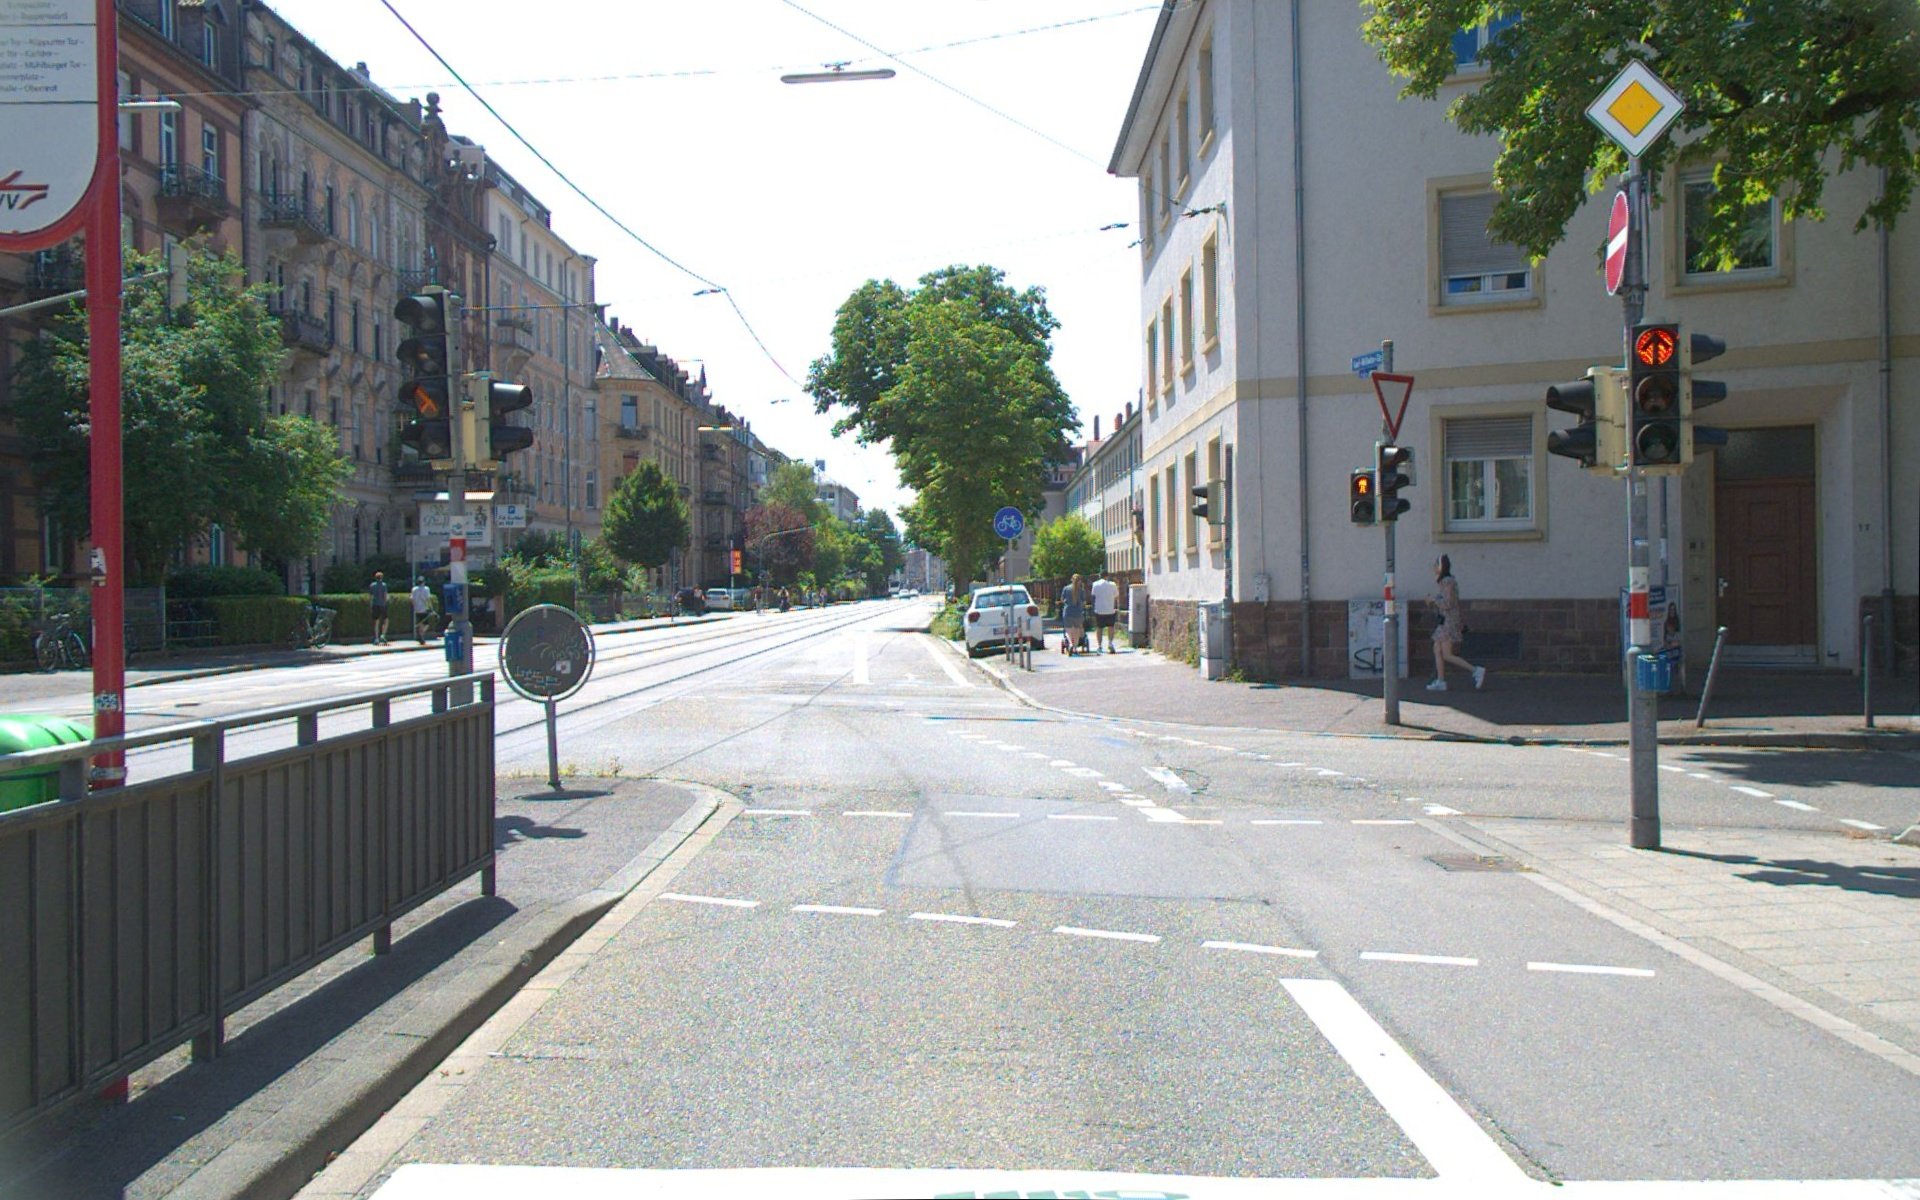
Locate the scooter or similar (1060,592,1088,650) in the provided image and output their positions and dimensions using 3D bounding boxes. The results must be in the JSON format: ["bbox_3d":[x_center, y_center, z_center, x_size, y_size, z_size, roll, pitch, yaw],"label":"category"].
[{"bbox_3d":[2.383,0.439,34.387,0.545,1.175,1.206,1,0,5],"label":"scooter or similar"}]

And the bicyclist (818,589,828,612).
[{"bbox_3d":[-11.206,0.064,135.573,0.712,1.850,1.079,1,0,1],"label":"bicyclist"}]

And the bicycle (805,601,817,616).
[{"bbox_3d":[-12.228,0.702,135.573,0.712,1.142,2.085,1,0,1],"label":"bicycle"}]

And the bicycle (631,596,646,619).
[{"bbox_3d":[-15.497,0.336,79.786,0.665,1.083,1.913,-1,0,-12],"label":"bicycle"}]

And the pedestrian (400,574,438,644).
[{"bbox_3d":[-14.698,0.232,44.949,0.800,1.854,0.873,1,1,-5],"label":"pedestrian"}]

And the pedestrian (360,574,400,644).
[{"bbox_3d":[-15.611,0.228,44.540,0.800,1.854,0.873,1,1,-5],"label":"pedestrian"}]

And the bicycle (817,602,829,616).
[{"bbox_3d":[-11.216,0.704,135.521,0.712,1.142,2.085,1,0,1],"label":"bicycle"}]

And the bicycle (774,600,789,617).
[{"bbox_3d":[-12.151,0.594,112.700,0.712,1.142,2.085,1,0,1],"label":"bicycle"}]

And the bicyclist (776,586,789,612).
[{"bbox_3d":[-12.127,-0.060,112.753,0.712,1.799,1.079,1,0,1],"label":"bicyclist"}]

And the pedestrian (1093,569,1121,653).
[{"bbox_3d":[3.002,0.227,33.716,0.545,1.674,0.677,1,-1,5],"label":"pedestrian"}]

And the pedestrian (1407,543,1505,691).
[{"bbox_3d":[6.220,0.208,20.724,1.032,1.719,0.654,-5,3,19],"label":"pedestrian"}]

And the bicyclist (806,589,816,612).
[{"bbox_3d":[-12.214,0.036,135.609,0.712,1.850,1.079,1,0,1],"label":"bicyclist"}]

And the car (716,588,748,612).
[{"bbox_3d":[-17.041,-0.019,123.572,1.880,1.745,3.999,1,0,-1],"label":"car"}]

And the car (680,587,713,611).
[{"bbox_3d":[-19.672,-0.065,123.606,1.880,1.745,3.999,1,0,-1],"label":"car"}]

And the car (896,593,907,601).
[{"bbox_3d":[-9.099,-0.466,258.158,1.671,1.300,3.999,1,0,-1],"label":"car"}]

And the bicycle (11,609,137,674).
[{"bbox_3d":[-16.712,0.755,31.303,0.918,1.156,2.773,1,0,-2],"label":"bicycle"}]

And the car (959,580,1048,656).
[{"bbox_3d":[0.928,0.398,37.320,1.778,1.542,3.999,-3,0,-1],"label":"car"}]

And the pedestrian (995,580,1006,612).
[{"bbox_3d":[2.020,-0.218,82.662,0.511,1.590,0.573,-1,0,-1],"label":"pedestrian"}]

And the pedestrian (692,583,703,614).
[{"bbox_3d":[-14.363,-0.071,90.456,0.510,1.688,0.529,-1,0,-1],"label":"pedestrian"}]

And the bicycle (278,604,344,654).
[{"bbox_3d":[-15.873,0.697,40.515,0.920,1.156,2.767,1,0,-9],"label":"bicycle"}]

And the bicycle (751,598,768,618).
[{"bbox_3d":[-12.151,0.490,100.150,0.712,1.142,2.085,1,0,1],"label":"bicycle"}]

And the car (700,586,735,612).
[{"bbox_3d":[-16.873,-0.051,115.311,1.880,1.745,3.999,1,0,-1],"label":"car"}]

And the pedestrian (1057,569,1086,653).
[{"bbox_3d":[2.253,0.213,33.431,0.545,1.674,0.677,1,-1,5],"label":"pedestrian"}]

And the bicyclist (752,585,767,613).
[{"bbox_3d":[-12.153,-0.046,100.161,0.712,1.657,1.079,1,0,1],"label":"bicyclist"}]

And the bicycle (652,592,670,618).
[{"bbox_3d":[-15.274,0.250,84.433,0.664,1.301,1.917,-1,0,-4],"label":"bicycle"}]
